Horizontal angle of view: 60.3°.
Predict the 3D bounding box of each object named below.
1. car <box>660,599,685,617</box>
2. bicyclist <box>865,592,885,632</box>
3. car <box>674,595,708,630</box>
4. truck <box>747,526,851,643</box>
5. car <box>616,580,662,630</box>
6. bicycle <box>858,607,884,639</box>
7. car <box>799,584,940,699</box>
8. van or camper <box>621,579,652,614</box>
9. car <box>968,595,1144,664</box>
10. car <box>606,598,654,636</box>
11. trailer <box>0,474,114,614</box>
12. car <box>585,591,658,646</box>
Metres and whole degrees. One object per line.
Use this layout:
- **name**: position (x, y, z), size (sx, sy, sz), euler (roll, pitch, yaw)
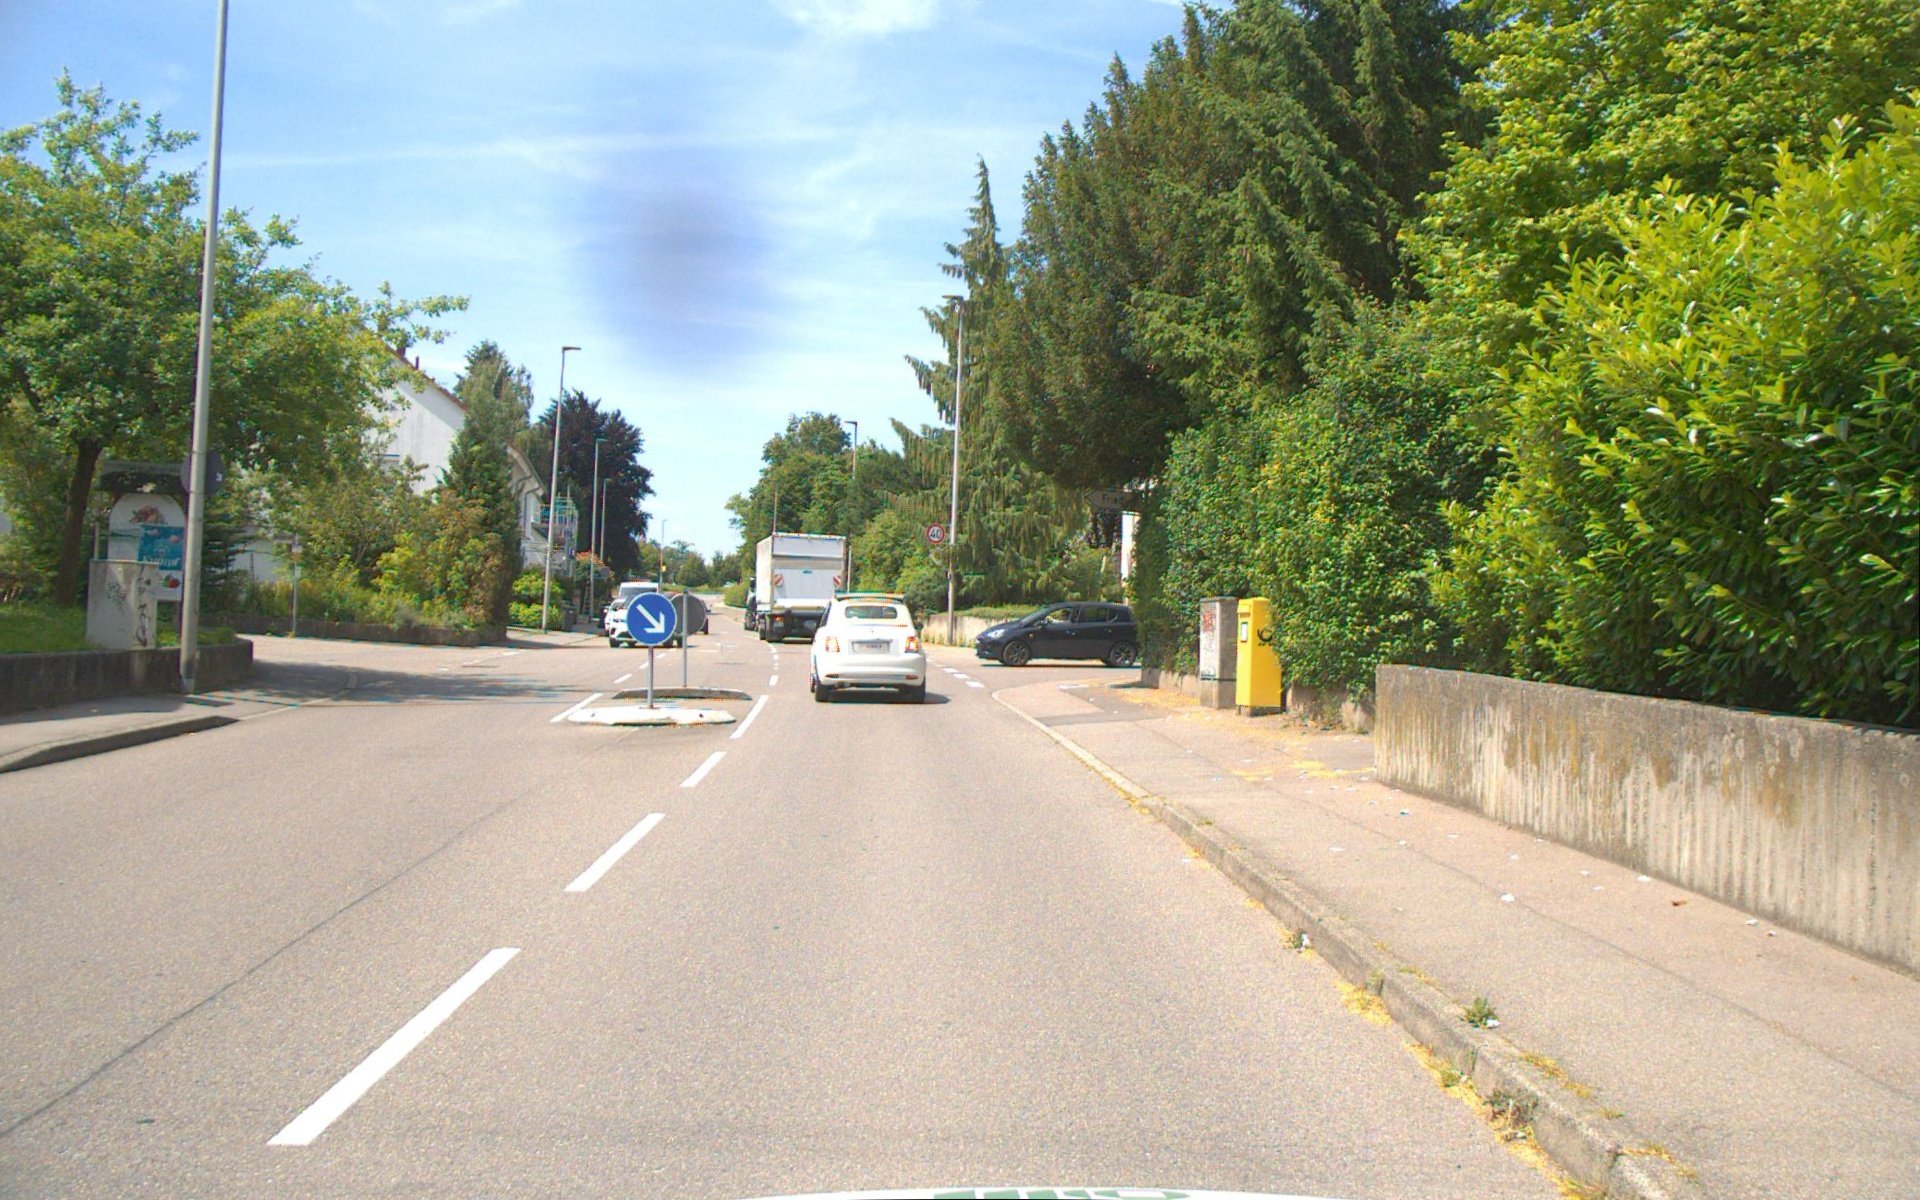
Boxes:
- **car**: position (-26.538, 0.755, 152.597), size (1.797, 1.561, 3.996), euler (3, -1, -4)
- **bicyclist**: position (-3.086, 0.426, 60.215), size (0.577, 1.437, 0.740), euler (3, -1, -9)
- **car**: position (-12.061, 0.537, 74.153), size (1.453, 1.537, 2.795), euler (1, 0, -9)
- **truck**: position (-5.882, -0.495, 59.305), size (3.013, 3.840, 7.847), euler (1, -1, -10)
- **car**: position (-15.201, 0.244, 78.252), size (2.001, 2.238, 5.567), euler (2, 0, -11)
- **bicycle**: position (-3.255, 0.830, 60.402), size (0.656, 1.123, 2.419), euler (2, -1, -9)
- **car**: position (-1.452, 0.586, 25.095), size (1.693, 1.587, 3.991), euler (1, 0, -10)
- **van or camper**: position (-29.440, -0.355, 150.699), size (2.222, 3.014, 5.878), euler (3, 0, -7)
- **car**: position (2.195, 0.675, 38.366), size (3.857, 1.483, 1.656), euler (1, 0, -6)
- **car**: position (-13.048, 0.644, 65.445), size (1.772, 1.422, 3.989), euler (2, 0, -11)
- **trailer**: position (-13.752, -0.846, 21.915), size (3.622, 1.720, 2.763), euler (4, -1, 23)
- **car**: position (-10.040, 0.561, 49.270), size (1.749, 1.556, 4.164), euler (1, -1, -7)
